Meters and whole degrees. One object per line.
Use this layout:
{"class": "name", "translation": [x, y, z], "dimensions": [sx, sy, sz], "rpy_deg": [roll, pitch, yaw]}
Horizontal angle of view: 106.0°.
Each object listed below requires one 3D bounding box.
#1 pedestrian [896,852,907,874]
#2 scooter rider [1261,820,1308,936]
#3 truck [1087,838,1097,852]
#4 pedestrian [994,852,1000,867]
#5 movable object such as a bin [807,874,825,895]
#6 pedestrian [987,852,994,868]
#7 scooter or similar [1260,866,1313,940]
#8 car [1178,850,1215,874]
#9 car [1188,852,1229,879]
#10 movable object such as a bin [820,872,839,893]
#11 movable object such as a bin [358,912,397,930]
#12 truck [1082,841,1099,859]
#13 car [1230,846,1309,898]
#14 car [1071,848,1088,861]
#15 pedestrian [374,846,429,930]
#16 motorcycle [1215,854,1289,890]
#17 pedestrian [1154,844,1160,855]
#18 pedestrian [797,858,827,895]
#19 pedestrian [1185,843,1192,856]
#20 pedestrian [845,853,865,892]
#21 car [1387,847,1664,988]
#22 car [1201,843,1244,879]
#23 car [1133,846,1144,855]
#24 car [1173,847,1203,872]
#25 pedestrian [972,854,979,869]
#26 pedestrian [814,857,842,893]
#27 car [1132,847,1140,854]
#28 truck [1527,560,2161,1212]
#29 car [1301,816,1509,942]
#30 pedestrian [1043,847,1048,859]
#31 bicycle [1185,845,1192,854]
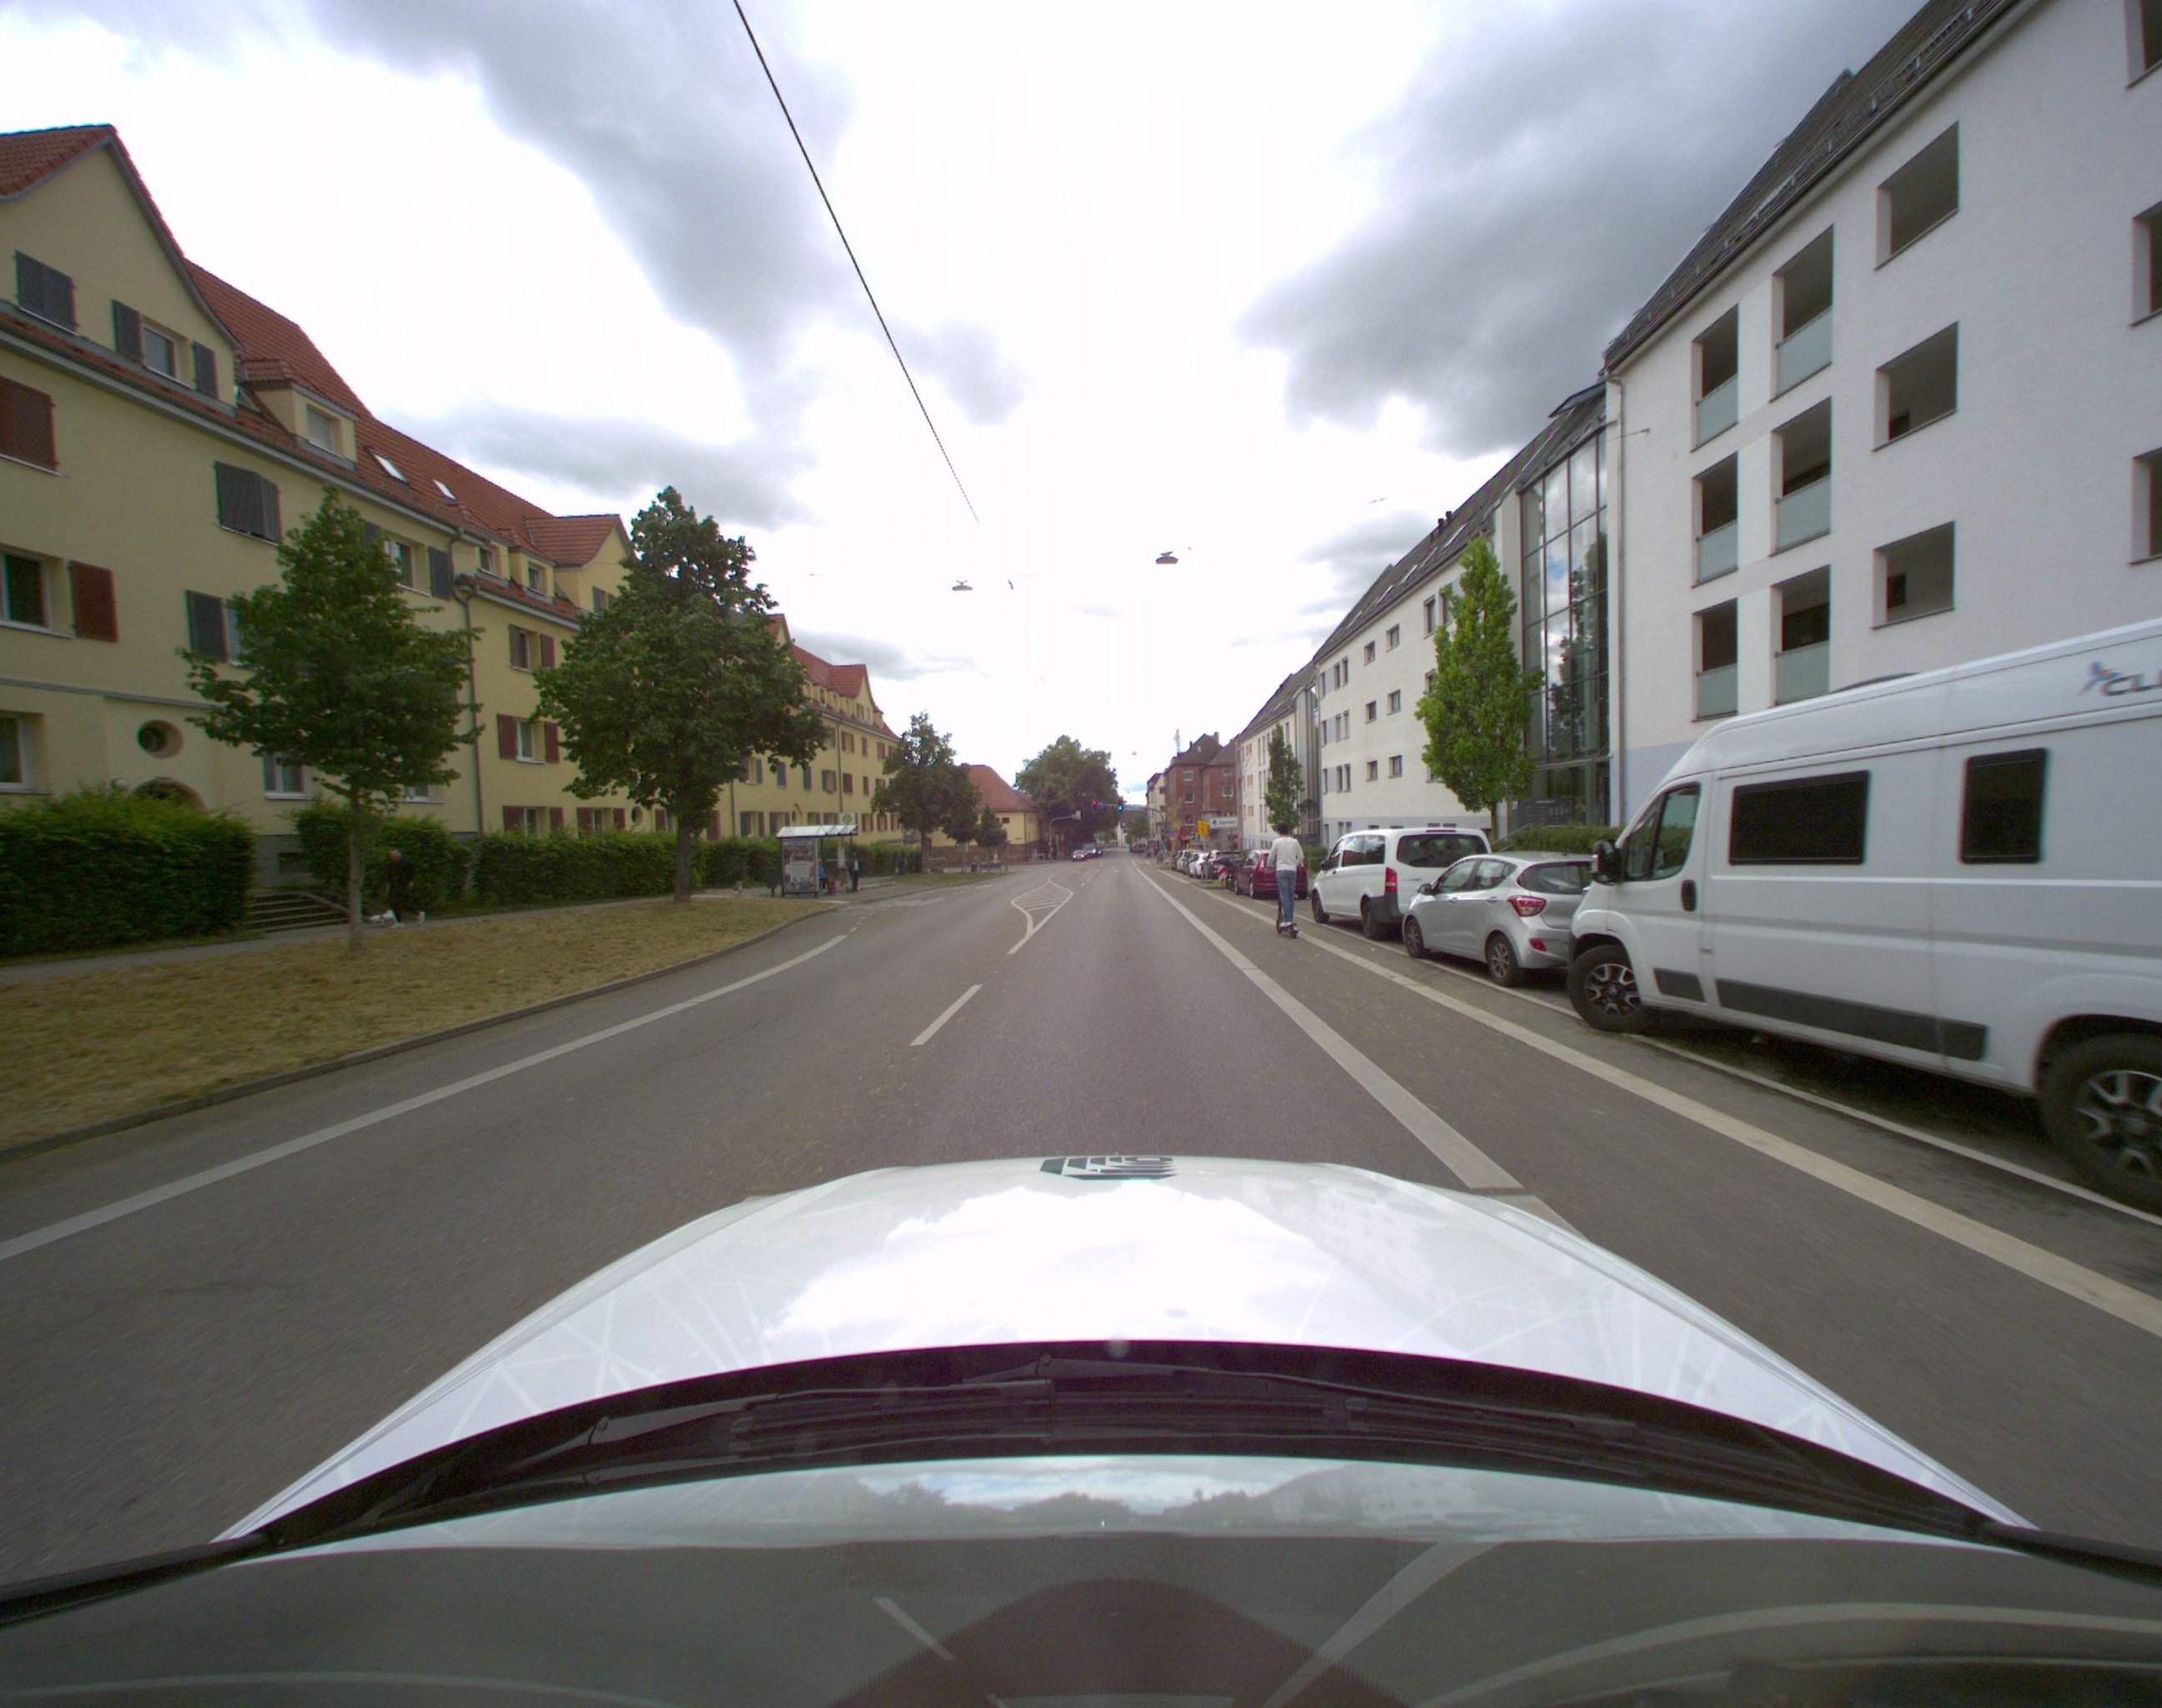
{"class": "pedestrian", "translation": [-13.204, 0.669, 59.854], "dimensions": [0.638, 1.619, 0.618], "rpy_deg": [-1, 0, 1]}
{"class": "scooter rider", "translation": [3.625, 0.411, 14.560], "dimensions": [0.623, 2.013, 0.758], "rpy_deg": [-1, 0, 1]}
{"class": "truck", "translation": [2.881, -2.344, 208.772], "dimensions": [2.222, 3.346, 7.453], "rpy_deg": [-1, 1, 2]}
{"class": "pedestrian", "translation": [-9.648, 0.636, 93.147], "dimensions": [0.561, 1.777, 0.717], "rpy_deg": [-1, 0, 2]}
{"class": "movable object such as a bin", "translation": [-10.664, 1.211, 32.805], "dimensions": [0.462, 0.826, 0.665], "rpy_deg": [0, 1, 3]}
{"class": "pedestrian", "translation": [-10.382, 0.693, 93.581], "dimensions": [0.561, 1.777, 0.843], "rpy_deg": [-1, 0, 2]}
{"class": "scooter or similar", "translation": [3.659, 0.831, 14.637], "dimensions": [0.489, 1.163, 2.076], "rpy_deg": [-1, 1, 2]}
{"class": "car", "translation": [7.377, 0.492, 52.389], "dimensions": [1.739, 1.467, 4.950], "rpy_deg": [0, 1, 1]}
{"class": "car", "translation": [7.123, 0.587, 45.989], "dimensions": [1.724, 1.413, 4.501], "rpy_deg": [0, 1, 1]}
{"class": "movable object such as a bin", "translation": [-10.551, 1.194, 34.145], "dimensions": [0.534, 0.845, 0.665], "rpy_deg": [0, 1, 3]}
{"class": "movable object such as a bin", "translation": [-15.364, 1.463, 17.783], "dimensions": [0.304, 0.347, 0.582], "rpy_deg": [-1, 1, 8]}
{"class": "truck", "translation": [1.322, -0.598, 119.888], "dimensions": [2.288, 2.427, 6.410], "rpy_deg": [-3, 1, 0]}
{"class": "car", "translation": [6.134, 0.525, 26.986], "dimensions": [1.674, 1.544, 4.340], "rpy_deg": [-1, 1, 1]}
{"class": "car", "translation": [-0.205, 0.043, 105.446], "dimensions": [1.747, 1.472, 4.313], "rpy_deg": [-3, 1, 6]}
{"class": "pedestrian", "translation": [-14.746, 0.721, 17.691], "dimensions": [0.511, 1.779, 0.753], "rpy_deg": [-1, 0, 2]}
{"class": "motorcycle", "translation": [6.368, 0.664, 30.337], "dimensions": [2.590, 1.278, 0.752], "rpy_deg": [-1, 0, -2]}
{"class": "pedestrian", "translation": [11.176, -0.652, 119.712], "dimensions": [0.560, 1.636, 0.684], "rpy_deg": [-1, 0, 22]}
{"class": "pedestrian", "translation": [-10.846, 0.890, 32.851], "dimensions": [0.895, 1.473, 0.807], "rpy_deg": [0, 0, 3]}
{"class": "pedestrian", "translation": [13.993, -0.564, 106.284], "dimensions": [0.785, 1.656, 0.773], "rpy_deg": [-4, 0, 3]}
{"class": "pedestrian", "translation": [-10.159, 0.816, 36.600], "dimensions": [0.594, 1.726, 0.862], "rpy_deg": [-1, 0, 5]}
{"class": "car", "translation": [5.399, 0.653, 10.472], "dimensions": [1.520, 1.485, 3.725], "rpy_deg": [0, 1, -1]}
{"class": "car", "translation": [7.009, 0.323, 40.668], "dimensions": [1.625, 1.650, 4.360], "rpy_deg": [0, 1, 3]}
{"class": "car", "translation": [12.062, -0.741, 172.170], "dimensions": [1.987, 1.935, 4.918], "rpy_deg": [-1, 1, 0]}
{"class": "car", "translation": [7.692, 0.348, 58.670], "dimensions": [1.653, 1.715, 4.553], "rpy_deg": [0, 1, 1]}
{"class": "pedestrian", "translation": [-11.292, 0.792, 87.152], "dimensions": [0.560, 1.566, 0.844], "rpy_deg": [-1, 0, 8]}
{"class": "pedestrian", "translation": [-10.700, 0.880, 34.417], "dimensions": [0.895, 1.509, 0.807], "rpy_deg": [0, 0, 3]}
{"class": "car", "translation": [13.212, -0.913, 195.886], "dimensions": [1.663, 1.547, 3.756], "rpy_deg": [-1, 1, 0]}
{"class": "truck", "translation": [5.321, 0.088, 5.083], "dimensions": [2.045, 2.565, 5.692], "rpy_deg": [-1, 1, 1]}
{"class": "car", "translation": [5.788, 0.359, 15.391], "dimensions": [1.986, 1.944, 5.214], "rpy_deg": [-1, 1, 2]}
{"class": "pedestrian", "translation": [-5.022, -0.165, 115.505], "dimensions": [0.671, 1.765, 0.726], "rpy_deg": [-1, 0, 4]}
{"class": "bicycle", "translation": [13.998, -0.615, 106.178], "dimensions": [0.756, 1.193, 2.393], "rpy_deg": [-1, 1, 3]}
